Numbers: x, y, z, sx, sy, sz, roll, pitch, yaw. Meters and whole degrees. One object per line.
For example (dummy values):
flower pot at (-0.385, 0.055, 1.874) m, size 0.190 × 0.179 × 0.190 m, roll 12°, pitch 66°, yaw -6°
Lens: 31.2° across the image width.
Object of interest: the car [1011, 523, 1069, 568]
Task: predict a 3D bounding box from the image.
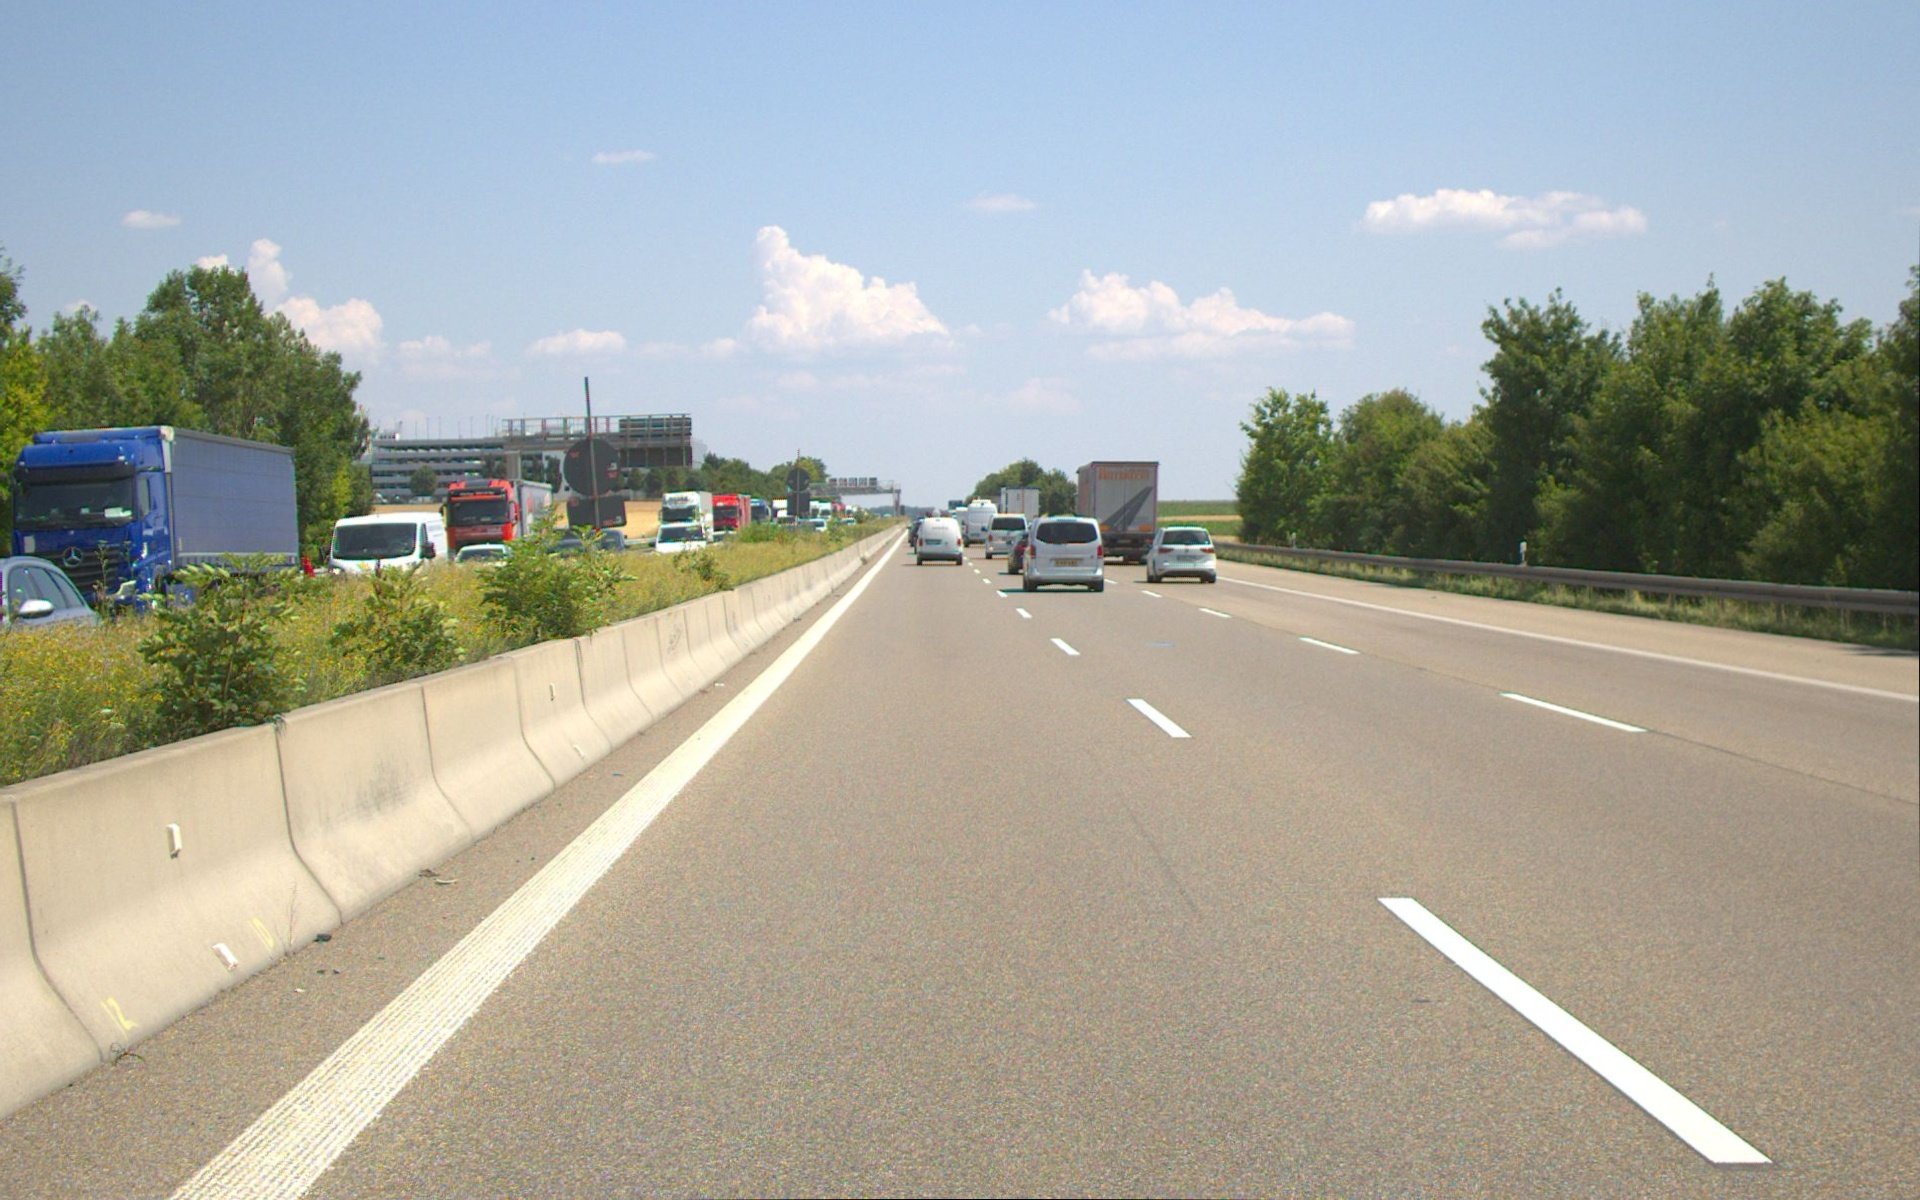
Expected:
car at (2.608, -1.792, 113.310) m, size 1.773 × 1.442 × 4.000 m, roll 0°, pitch 0°, yaw -1°

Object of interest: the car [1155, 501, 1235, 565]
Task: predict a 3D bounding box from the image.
car at (6.800, -1.930, 99.679) m, size 1.993 × 1.788 × 4.000 m, roll 0°, pitch 0°, yaw -1°

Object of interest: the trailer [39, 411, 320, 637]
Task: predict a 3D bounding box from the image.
trailer at (-16.412, -1.629, 73.562) m, size 2.883 × 4.335 × 13.643 m, roll -1°, pitch 1°, yaw 0°

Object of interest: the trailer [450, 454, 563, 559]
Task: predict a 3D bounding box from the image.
trailer at (-17.712, -3.669, 135.042) m, size 2.856 × 3.842 × 12.187 m, roll -2°, pitch 1°, yaw -1°

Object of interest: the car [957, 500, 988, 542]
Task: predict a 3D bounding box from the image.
car at (0.758, -4.685, 204.363) m, size 1.773 × 2.384 × 4.000 m, roll 0°, pitch 0°, yaw -1°

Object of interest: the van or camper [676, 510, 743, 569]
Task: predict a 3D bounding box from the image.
van or camper at (-8.482, -2.060, 116.826) m, size 1.993 × 1.926 × 5.202 m, roll -1°, pitch 1°, yaw -1°

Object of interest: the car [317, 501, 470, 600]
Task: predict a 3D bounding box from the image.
car at (-12.203, -1.089, 74.420) m, size 2.185 × 2.007 × 5.763 m, roll -1°, pitch 1°, yaw 2°

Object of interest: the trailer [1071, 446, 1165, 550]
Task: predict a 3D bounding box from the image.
trailer at (6.278, -4.011, 137.974) m, size 3.277 × 3.953 × 9.113 m, roll 0°, pitch 0°, yaw -1°

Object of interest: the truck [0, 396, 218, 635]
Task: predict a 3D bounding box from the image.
truck at (-16.368, -1.623, 66.178) m, size 2.865 × 4.335 × 5.586 m, roll -1°, pitch 1°, yaw 0°

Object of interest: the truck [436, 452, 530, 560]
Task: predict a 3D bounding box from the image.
truck at (-17.591, -3.466, 126.946) m, size 2.856 × 3.842 × 4.000 m, roll -2°, pitch 1°, yaw -1°

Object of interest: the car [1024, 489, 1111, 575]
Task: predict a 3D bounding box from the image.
car at (2.657, -1.677, 85.956) m, size 1.993 × 2.112 × 4.000 m, roll 0°, pitch 0°, yaw -1°

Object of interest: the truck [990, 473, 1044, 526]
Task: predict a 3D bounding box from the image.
truck at (4.297, -7.615, 261.623) m, size 3.815 × 3.891 × 9.581 m, roll -1°, pitch 1°, yaw -1°

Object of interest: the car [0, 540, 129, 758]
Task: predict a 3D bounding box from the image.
car at (-7.868, 0.341, 26.874) m, size 1.684 × 1.561 × 4.563 m, roll -1°, pitch 1°, yaw -1°

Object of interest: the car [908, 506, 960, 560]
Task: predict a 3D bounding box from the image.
car at (-1.002, -2.560, 132.524) m, size 1.993 × 2.007 × 4.000 m, roll 0°, pitch 0°, yaw -1°

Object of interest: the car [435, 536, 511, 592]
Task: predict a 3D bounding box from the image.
car at (-13.383, -1.007, 94.643) m, size 1.617 × 1.459 × 3.865 m, roll -1°, pitch 1°, yaw -1°

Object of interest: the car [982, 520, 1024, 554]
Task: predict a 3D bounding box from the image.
car at (1.893, -2.777, 152.258) m, size 1.773 × 1.442 × 4.000 m, roll 0°, pitch 0°, yaw -1°
